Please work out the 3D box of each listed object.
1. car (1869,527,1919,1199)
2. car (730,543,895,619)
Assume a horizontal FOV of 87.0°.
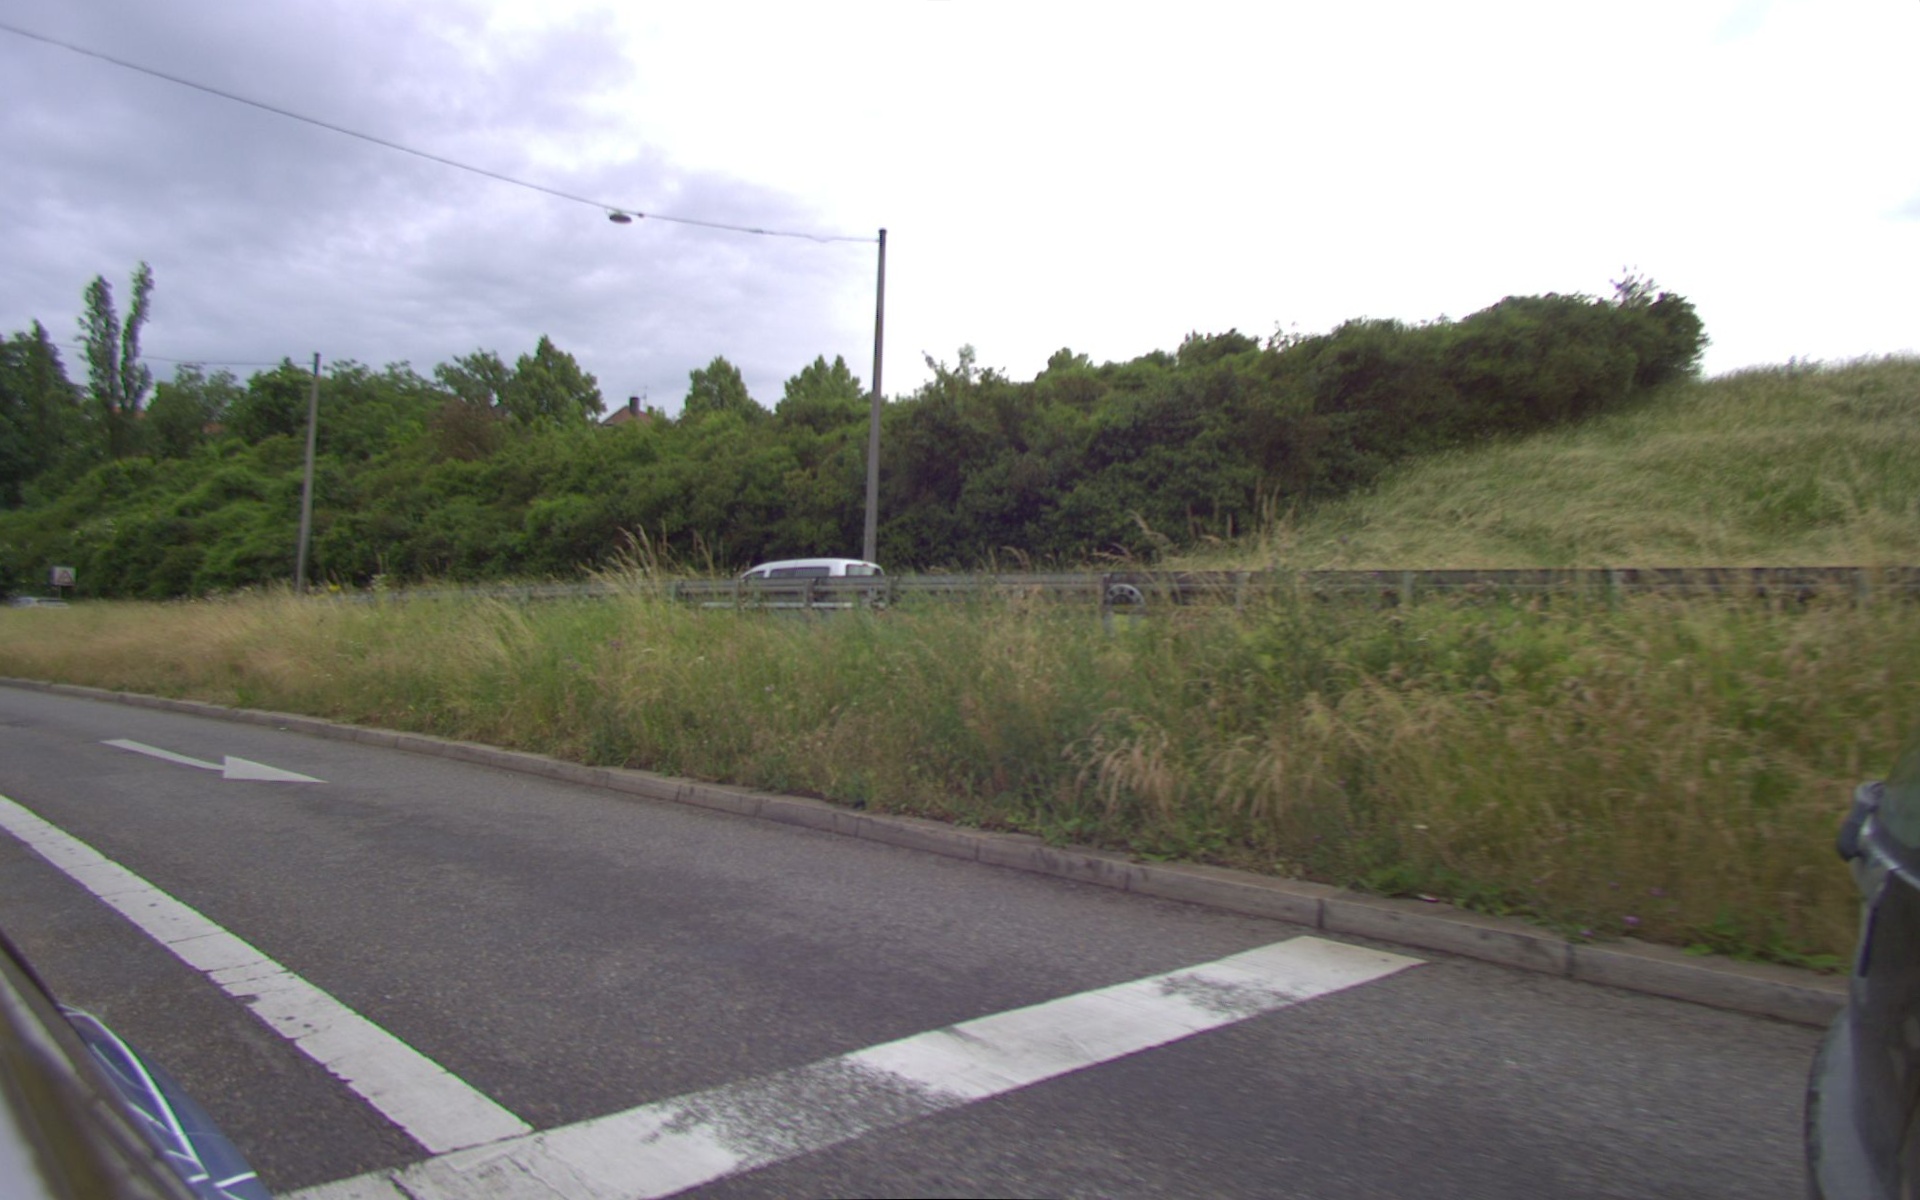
[{"bbox_3d":[3.278,0.625,0.592,4.042,1.577,1.777,-2,0,43],"label":"car"},{"bbox_3d":[-3.083,-0.352,20.988,3.223,1.443,1.543,-1,0,36],"label":"car"}]
